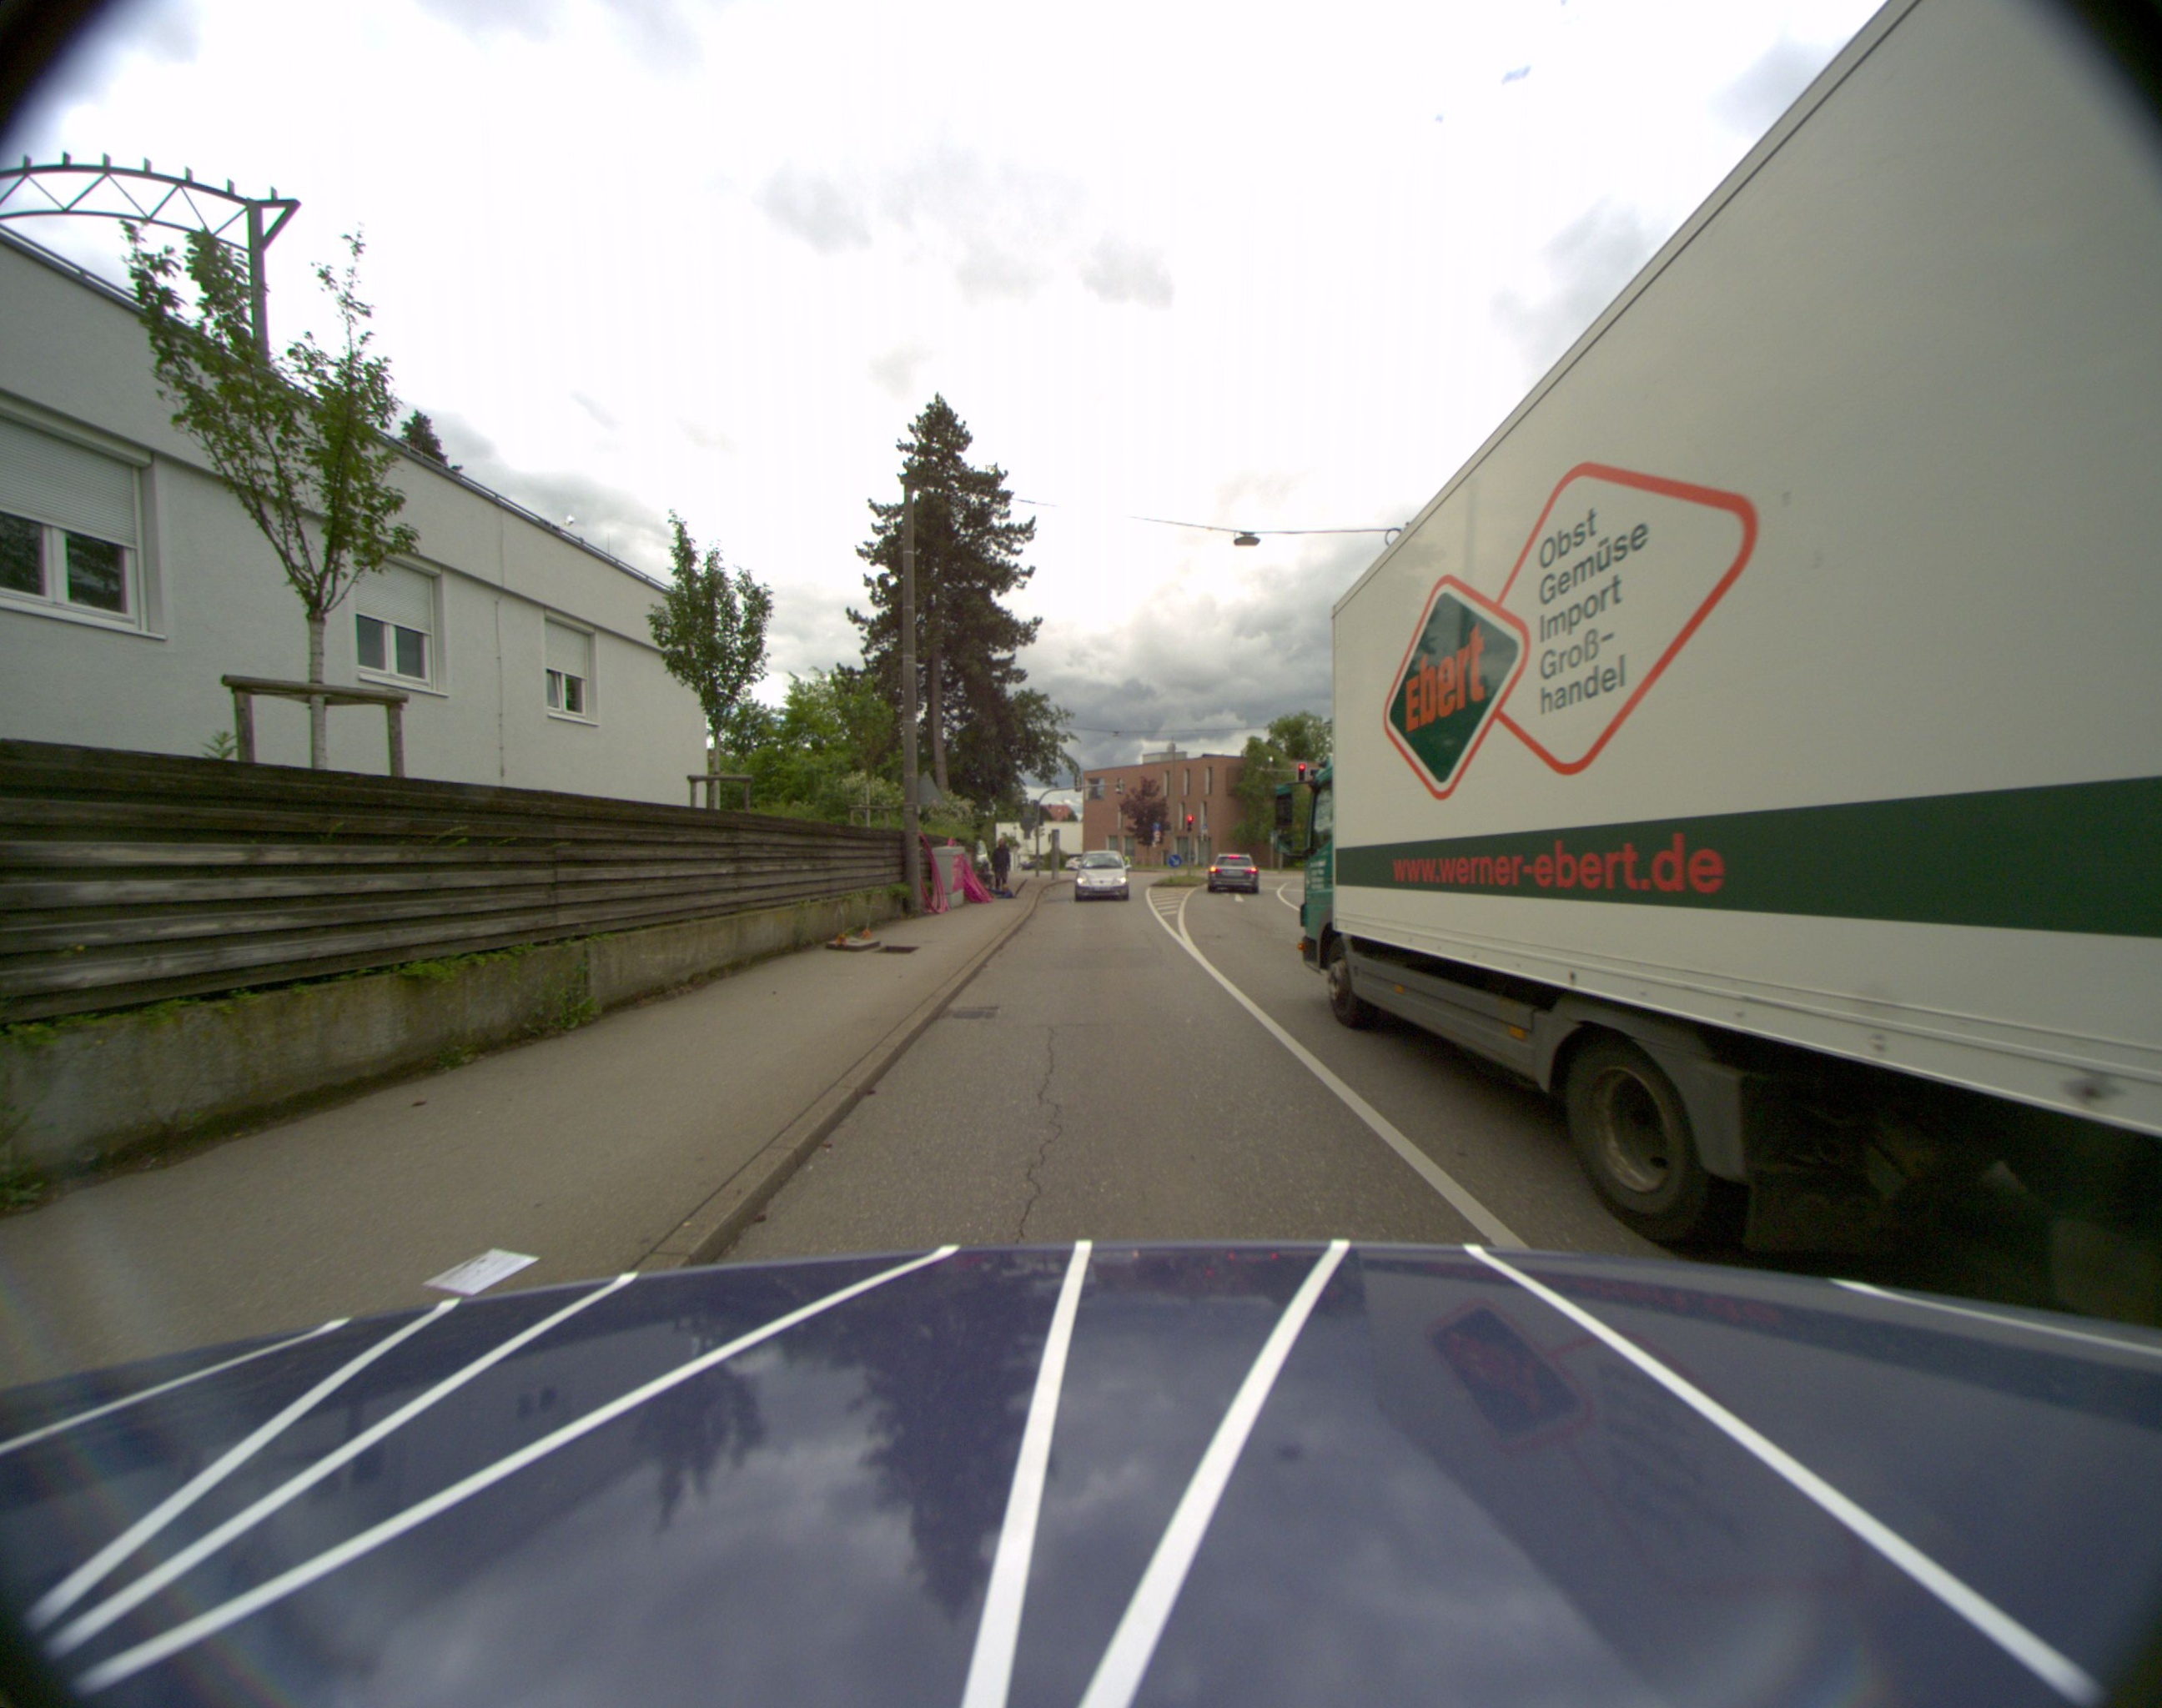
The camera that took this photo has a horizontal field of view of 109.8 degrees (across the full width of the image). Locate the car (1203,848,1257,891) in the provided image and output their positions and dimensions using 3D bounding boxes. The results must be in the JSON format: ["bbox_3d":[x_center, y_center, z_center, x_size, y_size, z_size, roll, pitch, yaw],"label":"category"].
[{"bbox_3d":[5.765,0.534,29.113,1.828,1.476,4.752,1,0,13],"label":"car"}]

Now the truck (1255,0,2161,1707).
[{"bbox_3d":[3.220,-0.276,4.285,2.784,3.442,7.491,0,2,0],"label":"truck"}]

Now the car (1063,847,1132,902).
[{"bbox_3d":[0.549,0.593,24.216,1.998,1.586,4.000,-1,0,2],"label":"car"}]

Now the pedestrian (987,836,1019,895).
[{"bbox_3d":[-2.577,0.368,25.044,0.849,1.912,0.800,0,1,-20],"label":"pedestrian"}]

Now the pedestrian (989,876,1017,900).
[{"bbox_3d":[-2.450,1.067,23.835,0.648,0.692,0.583,-1,1,-41],"label":"pedestrian"}]

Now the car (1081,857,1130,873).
[{"bbox_3d":[2.390,1.044,75.532,4.442,1.549,1.996,0,0,-24],"label":"car"}]

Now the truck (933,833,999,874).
[{"bbox_3d":[-7.172,-0.065,46.625,2.407,2.338,6.175,0,1,-24],"label":"truck"}]

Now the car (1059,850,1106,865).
[{"bbox_3d":[0.141,0.378,79.484,4.442,1.549,1.996,0,0,-24],"label":"car"}]

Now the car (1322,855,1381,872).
[{"bbox_3d":[21.022,0.711,59.110,4.004,1.237,1.996,-1,2,-21],"label":"car"}]
